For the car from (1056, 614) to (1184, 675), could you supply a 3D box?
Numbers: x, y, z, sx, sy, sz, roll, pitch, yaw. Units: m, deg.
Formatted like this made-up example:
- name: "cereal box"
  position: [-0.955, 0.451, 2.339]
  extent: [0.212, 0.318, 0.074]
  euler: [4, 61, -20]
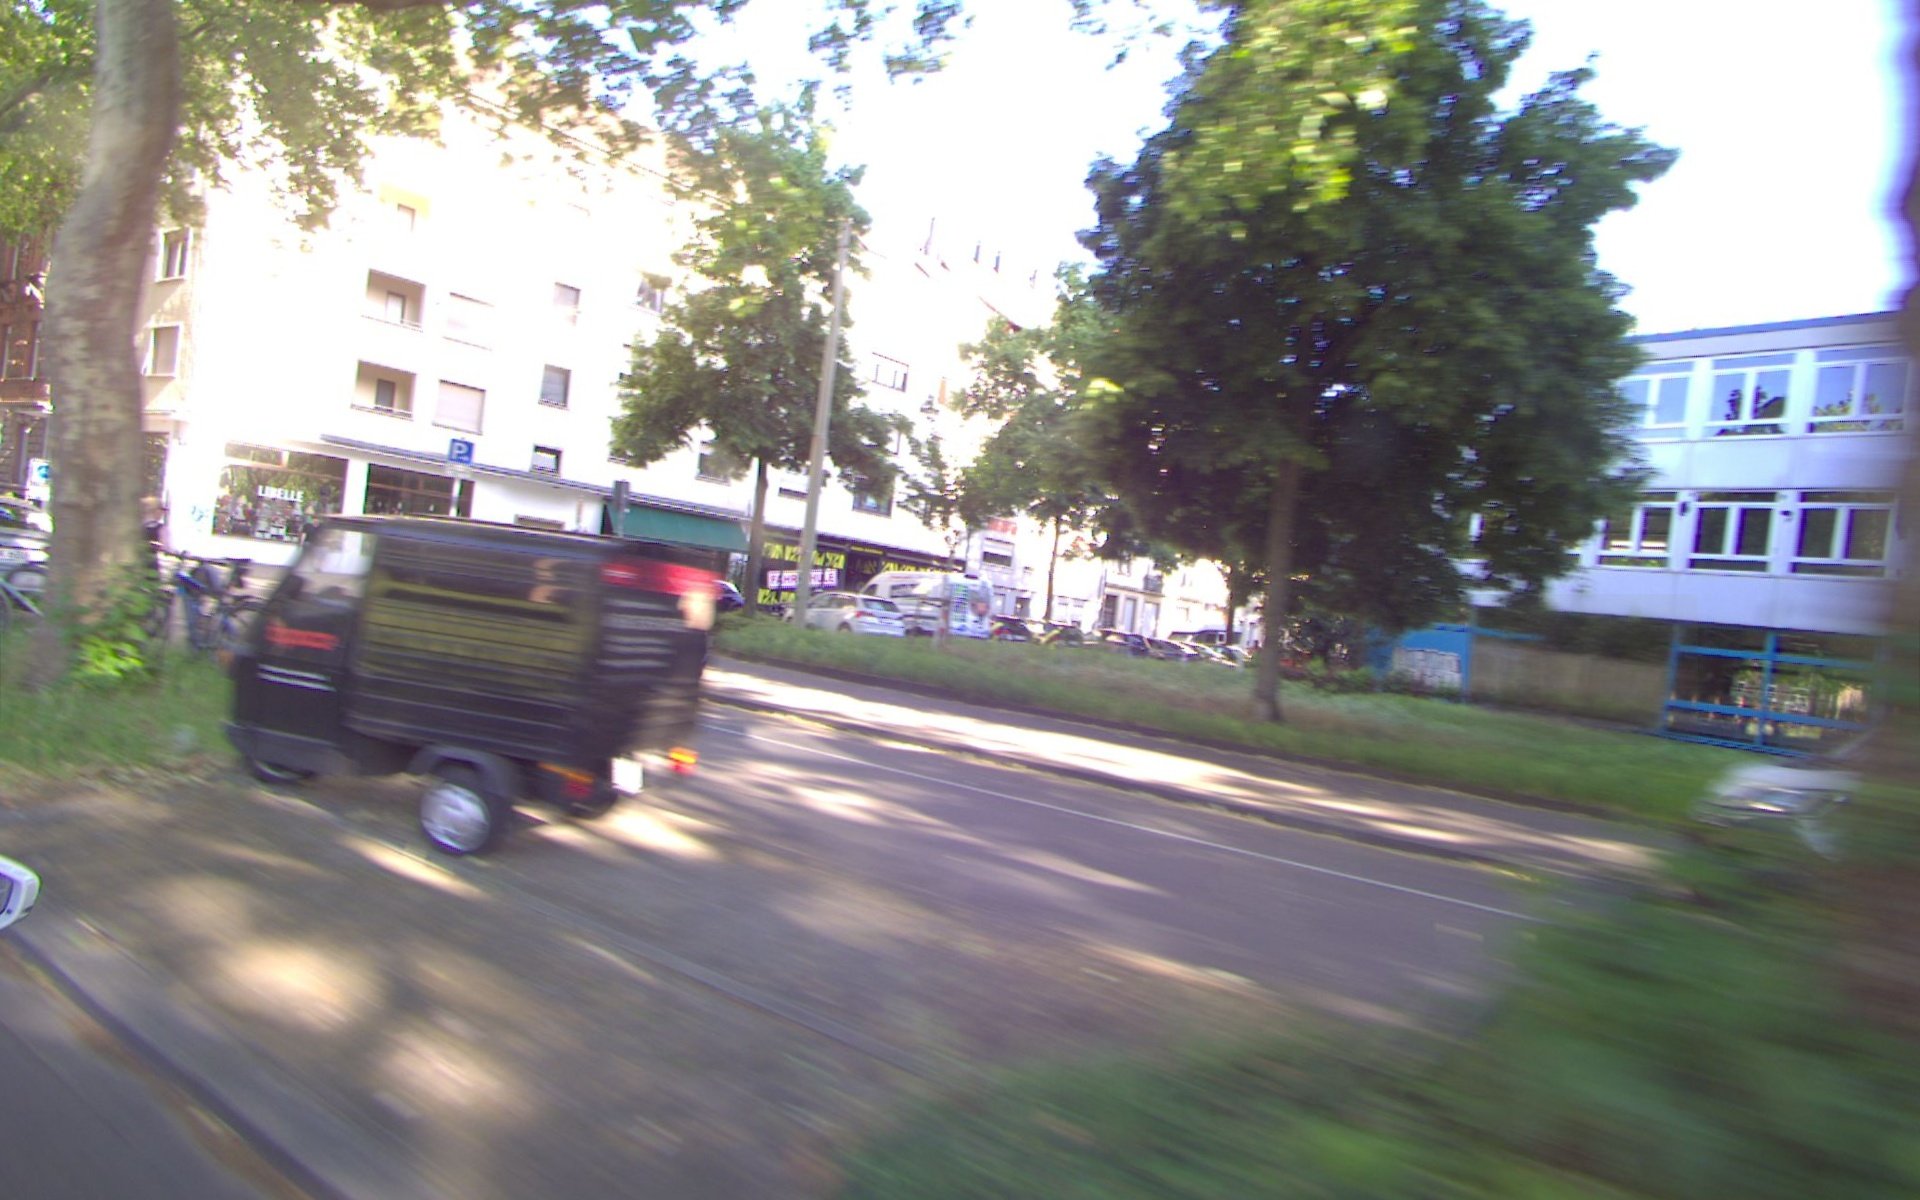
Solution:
- name: "car"
  position: [5.952, 1.655, 37.784]
  extent: [1.988, 1.648, 4.335]
  euler: [7, 0, -43]

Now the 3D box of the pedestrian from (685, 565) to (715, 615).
- name: "pedestrian"
  position: [-10.079, -0.392, 39.006]
  extent: [0.720, 1.831, 0.680]
  euler: [6, 1, -44]

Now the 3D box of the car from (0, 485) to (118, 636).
- name: "car"
  position: [-11.409, -0.667, 11.066]
  extent: [4.943, 1.415, 1.756]
  euler: [7, 0, 32]

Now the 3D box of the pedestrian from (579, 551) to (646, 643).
- name: "pedestrian"
  position: [-6.798, -0.060, 19.681]
  extent: [0.892, 1.671, 0.679]
  euler: [8, 1, 39]

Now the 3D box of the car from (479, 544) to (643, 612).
- name: "car"
  position: [-13.228, -0.700, 33.535]
  extent: [4.573, 1.600, 1.975]
  euler: [8, -1, -43]

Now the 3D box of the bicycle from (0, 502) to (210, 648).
- name: "bicycle"
  position: [-7.965, -0.224, 8.795]
  extent: [0.665, 1.138, 2.073]
  euler: [7, -1, 30]

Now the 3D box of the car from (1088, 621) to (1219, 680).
- name: "car"
  position: [7.459, 1.928, 39.143]
  extent: [1.988, 1.647, 4.596]
  euler: [7, 0, -43]

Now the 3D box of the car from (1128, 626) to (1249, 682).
- name: "car"
  position: [9.269, 2.164, 41.033]
  extent: [1.988, 1.648, 4.335]
  euler: [7, 0, -43]

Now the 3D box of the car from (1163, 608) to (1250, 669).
- name: "car"
  position: [14.882, 2.361, 60.551]
  extent: [5.474, 3.022, 2.076]
  euler: [8, 0, -43]

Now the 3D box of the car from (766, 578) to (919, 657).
- name: "car"
  position: [-3.384, 0.458, 28.399]
  extent: [1.988, 1.648, 4.335]
  euler: [7, 0, -43]

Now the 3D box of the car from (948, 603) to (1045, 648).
- name: "car"
  position: [1.752, 1.240, 47.854]
  extent: [4.368, 1.555, 1.976]
  euler: [8, -1, -43]

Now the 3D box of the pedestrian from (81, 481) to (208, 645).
- name: "pedestrian"
  position: [-8.862, -0.393, 10.940]
  extent: [0.701, 1.628, 0.689]
  euler: [8, -2, 32]

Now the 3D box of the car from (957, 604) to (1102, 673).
- name: "car"
  position: [2.282, 1.288, 34.223]
  extent: [1.988, 1.689, 4.686]
  euler: [7, 0, -43]

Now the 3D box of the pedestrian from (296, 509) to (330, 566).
- name: "pedestrian"
  position: [-20.262, -1.964, 31.490]
  extent: [0.714, 1.670, 0.590]
  euler: [8, 1, 43]

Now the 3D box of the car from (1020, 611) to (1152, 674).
- name: "car"
  position: [4.504, 1.509, 36.382]
  extent: [1.988, 1.648, 4.335]
  euler: [7, 0, -43]

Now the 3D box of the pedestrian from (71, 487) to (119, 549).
- name: "pedestrian"
  position: [-26.000, -2.455, 30.228]
  extent: [0.712, 1.726, 0.796]
  euler: [8, 1, 32]

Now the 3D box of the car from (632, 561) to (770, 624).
- name: "car"
  position: [-9.460, -0.262, 36.937]
  extent: [4.368, 1.664, 1.976]
  euler: [8, 0, -43]

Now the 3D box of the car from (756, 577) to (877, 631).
- name: "car"
  position: [-5.717, 0.192, 40.426]
  extent: [4.368, 1.555, 1.976]
  euler: [8, -1, -43]

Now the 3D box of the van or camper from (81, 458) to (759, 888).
- name: "van or camper"
  position: [-2.771, 0.299, 5.395]
  extent: [2.786, 1.607, 1.506]
  euler: [7, 0, 15]

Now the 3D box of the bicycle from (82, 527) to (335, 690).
- name: "bicycle"
  position: [-6.272, 0.062, 8.398]
  extent: [1.852, 1.091, 0.760]
  euler: [7, 0, 22]

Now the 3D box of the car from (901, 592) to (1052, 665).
- name: "car"
  position: [0.441, 0.881, 32.145]
  extent: [1.988, 1.689, 4.686]
  euler: [7, 0, -43]

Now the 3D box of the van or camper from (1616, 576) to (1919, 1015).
- name: "van or camper"
  position: [7.329, 1.397, 5.709]
  extent: [5.726, 2.314, 2.294]
  euler: [7, 0, 31]

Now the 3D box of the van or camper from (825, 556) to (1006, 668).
- name: "van or camper"
  position: [-1.454, 0.285, 30.242]
  extent: [2.140, 2.668, 5.520]
  euler: [7, 0, -42]

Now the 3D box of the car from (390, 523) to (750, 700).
- name: "car"
  position: [-5.501, 0.103, 13.921]
  extent: [5.082, 1.763, 1.822]
  euler: [7, 0, 32]
